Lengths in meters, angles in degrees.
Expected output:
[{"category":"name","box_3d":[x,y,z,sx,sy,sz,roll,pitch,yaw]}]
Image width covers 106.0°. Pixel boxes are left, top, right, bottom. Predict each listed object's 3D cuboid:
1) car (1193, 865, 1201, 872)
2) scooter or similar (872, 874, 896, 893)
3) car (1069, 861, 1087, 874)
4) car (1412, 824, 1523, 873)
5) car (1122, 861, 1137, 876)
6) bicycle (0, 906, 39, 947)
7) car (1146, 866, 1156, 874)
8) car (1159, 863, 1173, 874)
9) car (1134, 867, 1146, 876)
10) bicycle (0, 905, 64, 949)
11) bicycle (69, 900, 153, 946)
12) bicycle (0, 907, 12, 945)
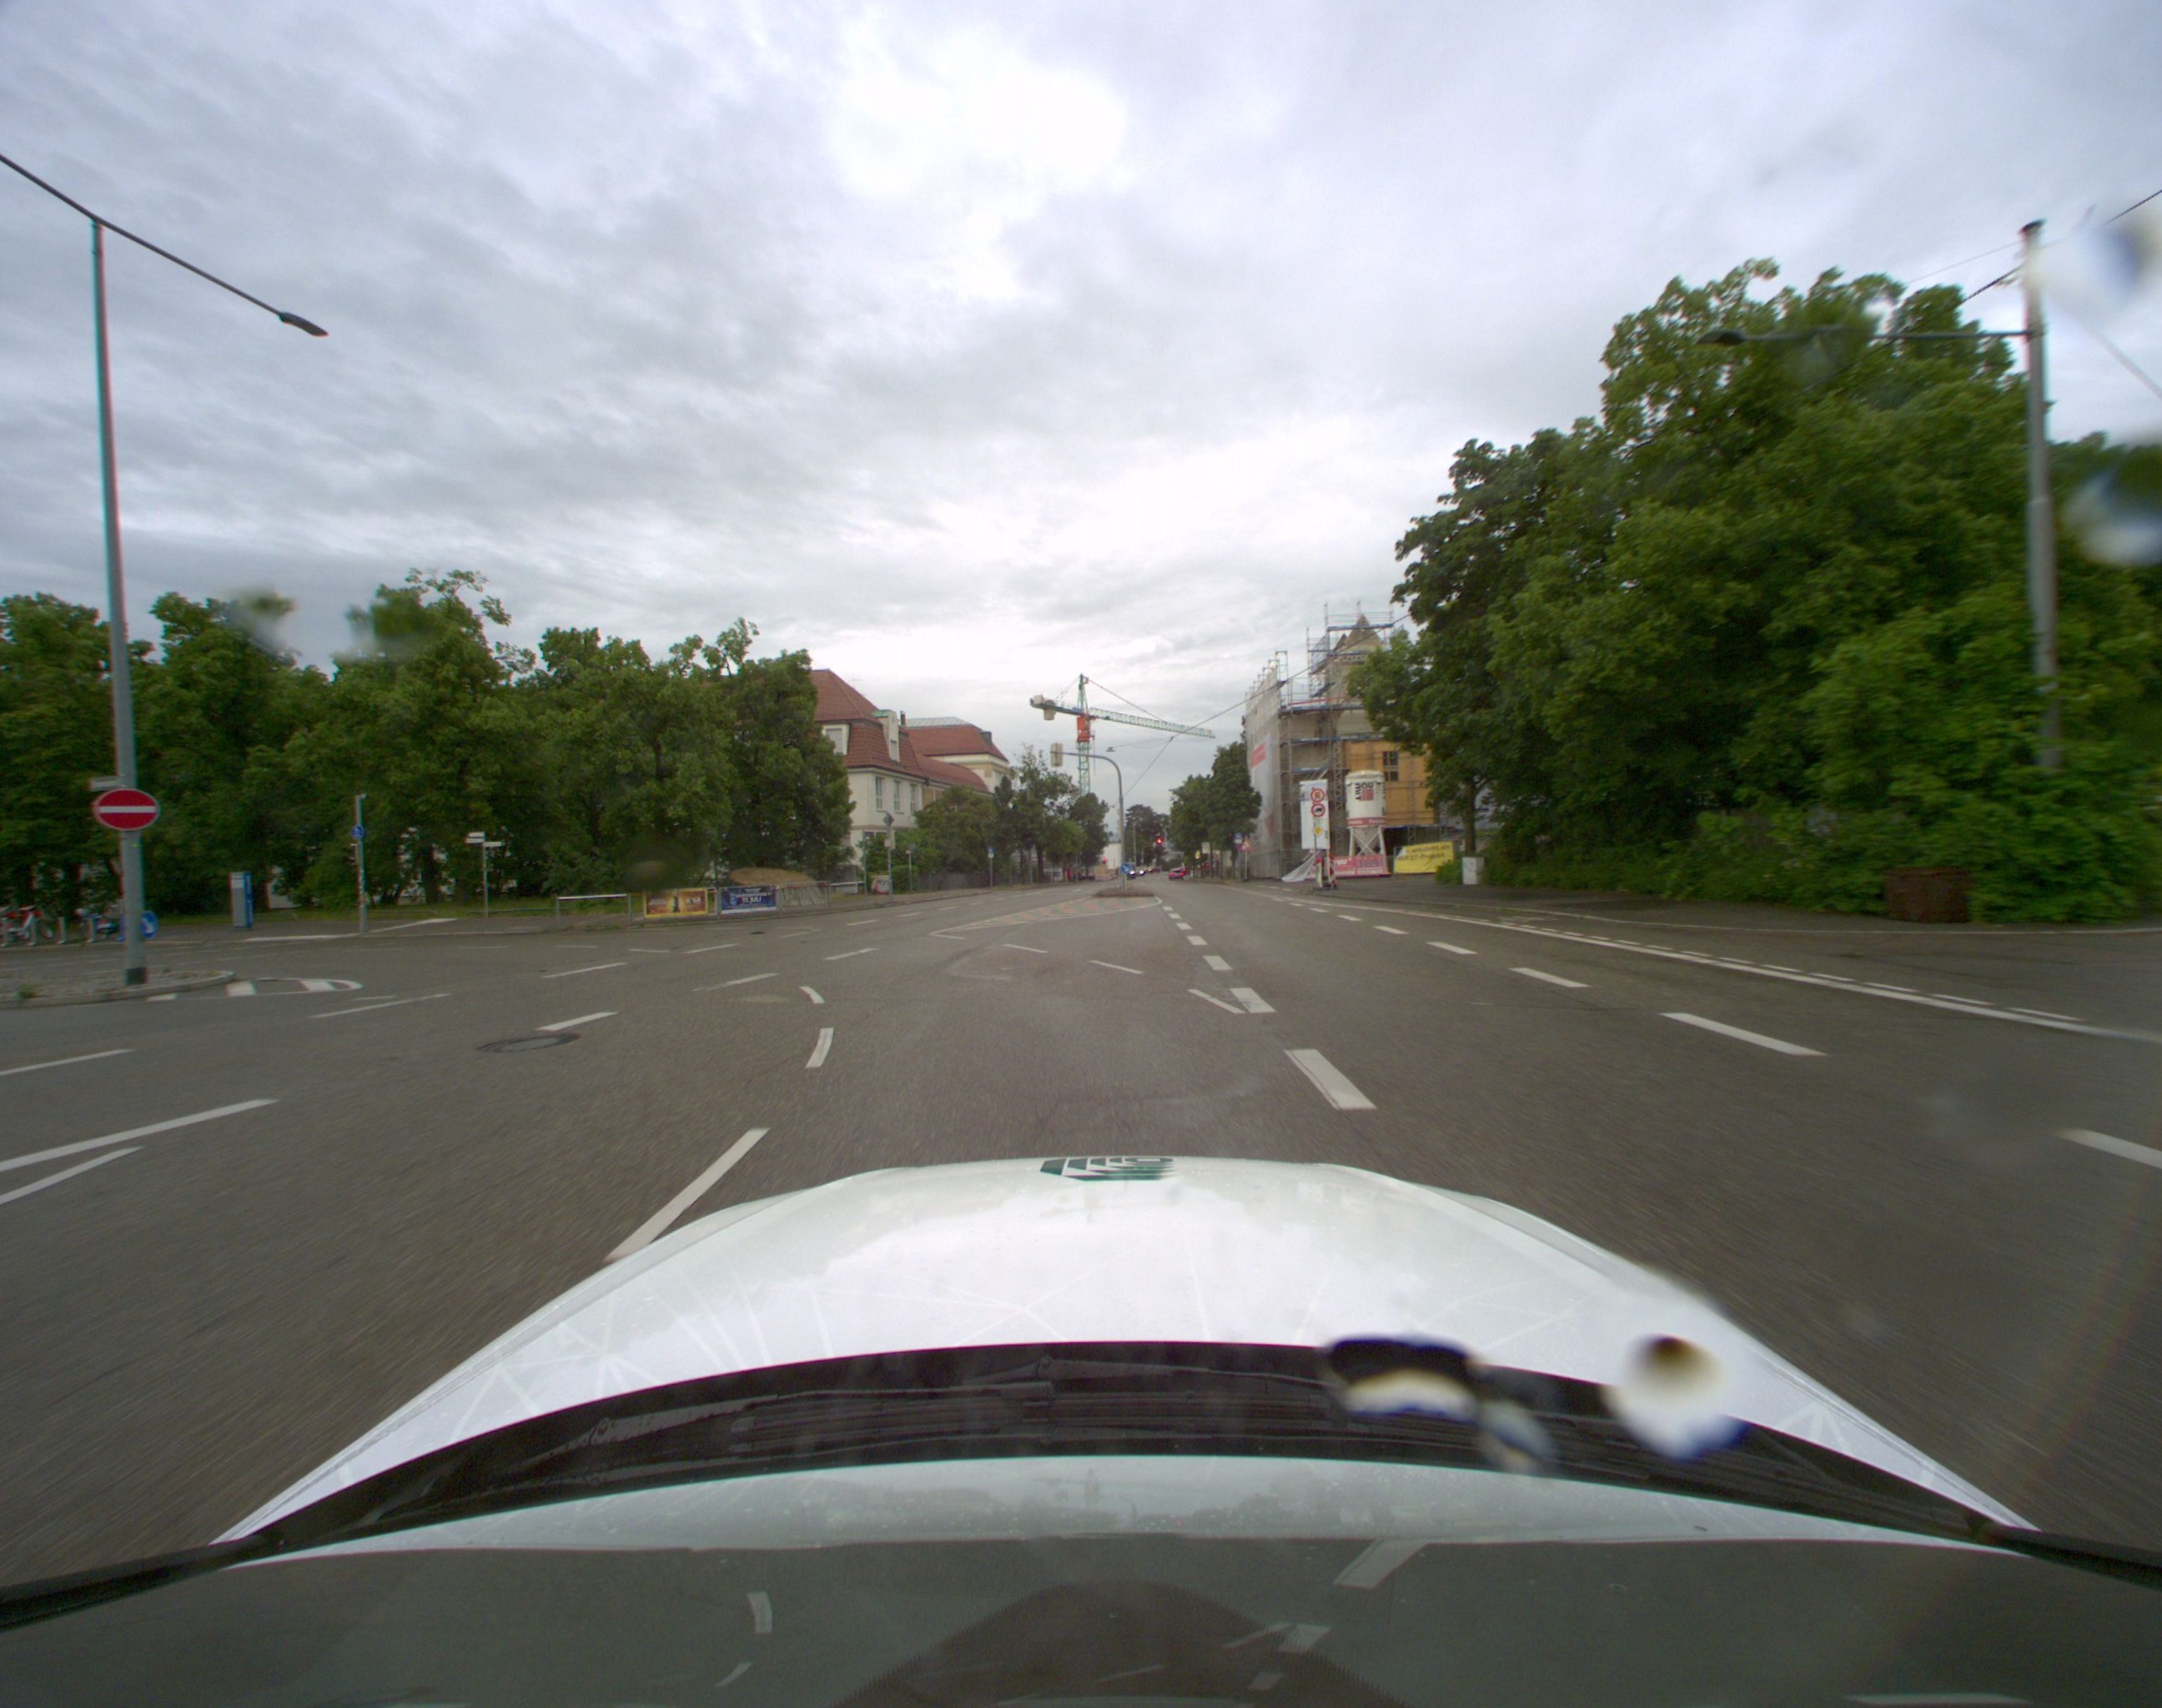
[{"category":"car","box_3d":[31.630,3.973,221.592,1.982,2.014,4.009,-1,-1,8]},{"category":"scooter or similar","box_3d":[-10.069,1.481,41.638,0.532,0.954,1.096,-2,-3,44]},{"category":"car","box_3d":[-0.418,2.118,128.235,1.981,2.013,4.012,-1,0,11]},{"category":"car","box_3d":[17.181,-0.239,36.306,2.011,2.013,3.952,-2,0,-42]},{"category":"car","box_3d":[7.565,2.227,126.384,1.823,2.211,4.012,-1,0,11]},{"category":"bicycle","box_3d":[-32.974,2.263,24.761,0.553,1.131,1.489,-4,3,-2]},{"category":"car","box_3d":[13.328,2.998,155.703,1.491,1.448,3.491,-1,0,11]},{"category":"car","box_3d":[12.436,2.074,118.895,1.764,1.439,3.883,-1,0,11]},{"category":"car","box_3d":[10.349,3.054,142.951,1.565,1.461,3.548,-1,0,11]},{"category":"bicycle","box_3d":[-32.168,2.226,24.750,0.553,1.131,1.489,-4,3,-2]},{"category":"bicycle","box_3d":[-29.515,2.075,24.815,0.553,1.131,1.600,-4,3,-2]},{"category":"bicycle","box_3d":[-33.784,2.294,24.735,0.553,1.131,1.489,-4,3,-2]}]
